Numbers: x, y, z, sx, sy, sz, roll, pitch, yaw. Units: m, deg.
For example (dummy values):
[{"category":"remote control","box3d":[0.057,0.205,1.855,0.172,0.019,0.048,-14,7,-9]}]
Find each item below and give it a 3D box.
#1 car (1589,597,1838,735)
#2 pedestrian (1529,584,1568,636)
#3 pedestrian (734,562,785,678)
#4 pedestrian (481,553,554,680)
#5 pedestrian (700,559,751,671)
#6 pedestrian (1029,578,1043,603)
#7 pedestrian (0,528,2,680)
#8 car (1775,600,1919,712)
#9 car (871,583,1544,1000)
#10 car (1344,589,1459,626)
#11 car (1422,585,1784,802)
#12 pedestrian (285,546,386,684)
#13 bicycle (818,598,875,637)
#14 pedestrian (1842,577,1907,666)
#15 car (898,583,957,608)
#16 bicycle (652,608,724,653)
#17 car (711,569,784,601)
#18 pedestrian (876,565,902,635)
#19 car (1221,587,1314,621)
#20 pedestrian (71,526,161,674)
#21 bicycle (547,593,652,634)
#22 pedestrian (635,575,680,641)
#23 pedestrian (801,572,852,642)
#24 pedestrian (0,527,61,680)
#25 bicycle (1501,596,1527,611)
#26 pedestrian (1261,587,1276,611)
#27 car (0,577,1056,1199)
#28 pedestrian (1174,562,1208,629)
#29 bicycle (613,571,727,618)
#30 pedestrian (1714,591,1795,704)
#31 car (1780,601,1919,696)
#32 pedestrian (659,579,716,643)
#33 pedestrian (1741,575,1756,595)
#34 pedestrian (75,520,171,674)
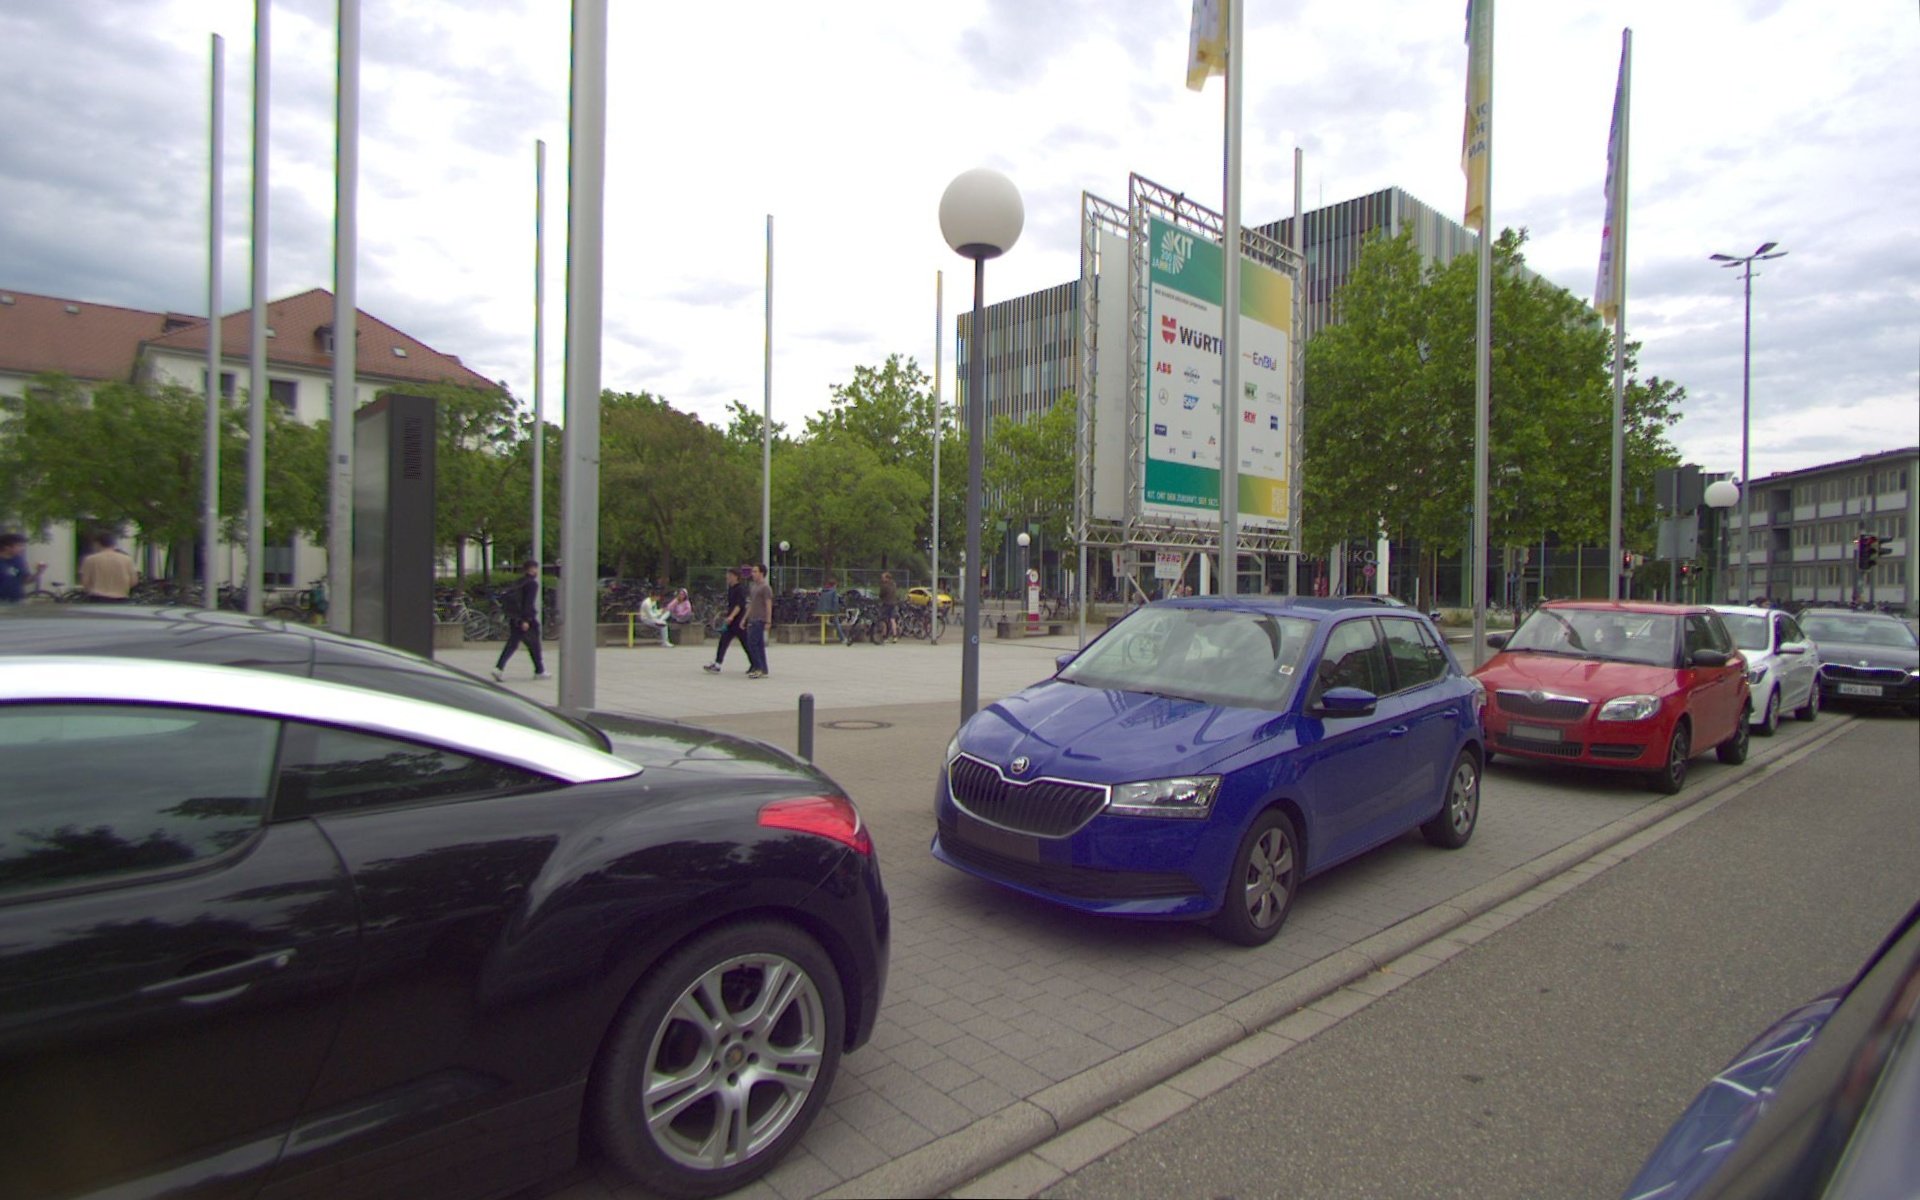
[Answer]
[{"category":"car","box3d":[9.773,0.725,13.028,3.792,1.471,1.863,0,1,-42]},{"category":"pedestrian","box3d":[18.971,0.313,32.622,0.777,1.647,0.759,1,0,-28]},{"category":"pedestrian","box3d":[-3.086,0.306,15.602,0.635,1.734,0.782,2,-1,-5]},{"category":"pedestrian","box3d":[-6.113,0.222,13.979,0.693,1.691,0.757,2,0,-40]},{"category":"pedestrian","box3d":[-3.830,0.235,16.484,0.679,1.734,0.911,4,-1,-15]},{"category":"pedestrian","box3d":[5.507,-0.671,73.698,0.794,1.832,0.588,1,0,-38]},{"category":"pedestrian","box3d":[-10.982,0.055,11.132,0.593,1.737,0.778,1,0,-40]},{"category":"car","box3d":[13.924,0.776,15.694,1.858,1.419,4.417,4,3,38]},{"category":"car","box3d":[1.698,0.650,5.688,1.696,1.429,4.306,2,2,45]},{"category":"car","box3d":[19.618,0.293,45.090,1.966,1.508,4.284,0,1,-42]},{"category":"car","box3d":[6.079,0.683,9.360,4.200,1.491,1.715,1,3,-42]},{"category":"pedestrian","box3d":[-7.899,0.198,12.804,0.915,1.662,0.736,3,-3,-41]},{"category":"bicycle","box3d":[-3.195,0.487,28.762,0.454,1.062,1.911,2,1,34]},{"category":"pedestrian","box3d":[20.718,0.484,22.941,0.742,1.976,0.795,1,0,-13]},{"category":"car","box3d":[-2.248,-0.306,69.990,1.964,1.638,4.190,0,1,-39]},{"category":"bicycle","box3d":[-6.890,0.759,25.712,0.454,1.062,1.912,2,1,33]},{"category":"car","box3d":[-12.339,-0.878,59.031,1.984,1.774,4.021,1,1,31]},{"category":"pedestrian","box3d":[-1.923,-0.004,27.335,0.660,1.856,0.511,1,1,-2]},{"category":"car","box3d":[15.326,0.191,50.524,3.982,1.471,1.971,4,1,39]},{"category":"pedestrian","box3d":[-11.121,-0.017,13.343,0.769,1.888,0.600,1,1,18]},{"category":"bicycle","box3d":[-11.362,0.433,31.996,3.052,1.185,0.747,3,-2,-40]},{"category":"pedestrian","box3d":[-6.772,0.167,22.659,0.664,1.431,0.765,1,1,17]},{"category":"pedestrian","box3d":[-3.424,0.163,25.951,0.845,1.725,0.958,2,1,31]},{"category":"pedestrian","box3d":[-11.511,0.052,12.270,0.717,1.808,0.727,-2,-3,35]},{"category":"bicycle","box3d":[36.072,0.225,65.915,0.538,0.948,2.011,1,1,-2]},{"category":"pedestrian","box3d":[23.787,-0.071,77.938,0.788,1.810,0.762,0,2,-40]},{"category":"car","box3d":[-1.977,0.686,2.157,4.340,1.460,1.852,2,-1,-41]},{"category":"pedestrian","box3d":[6.101,-0.108,26.711,0.660,1.737,0.679,2,-2,-4]},{"category":"bicycle","box3d":[-8.195,-0.130,28.769,3.052,1.185,0.747,3,-2,-40]},{"category":"pedestrian","box3d":[13.188,0.754,16.801,0.805,1.810,0.794,0,1,-30]},{"category":"car","box3d":[17.278,0.844,19.462,4.034,1.520,1.625,-1,3,-41]},{"category":"pedestrian","box3d":[-6.314,0.243,23.463,0.847,1.438,0.956,1,1,37]},{"category":"pedestrian","box3d":[69.998,-1.341,89.854,0.766,1.811,0.757,1,1,18]},{"category":"pedestrian","box3d":[-10.230,-0.047,12.375,0.759,1.807,0.728,1,0,35]}]
